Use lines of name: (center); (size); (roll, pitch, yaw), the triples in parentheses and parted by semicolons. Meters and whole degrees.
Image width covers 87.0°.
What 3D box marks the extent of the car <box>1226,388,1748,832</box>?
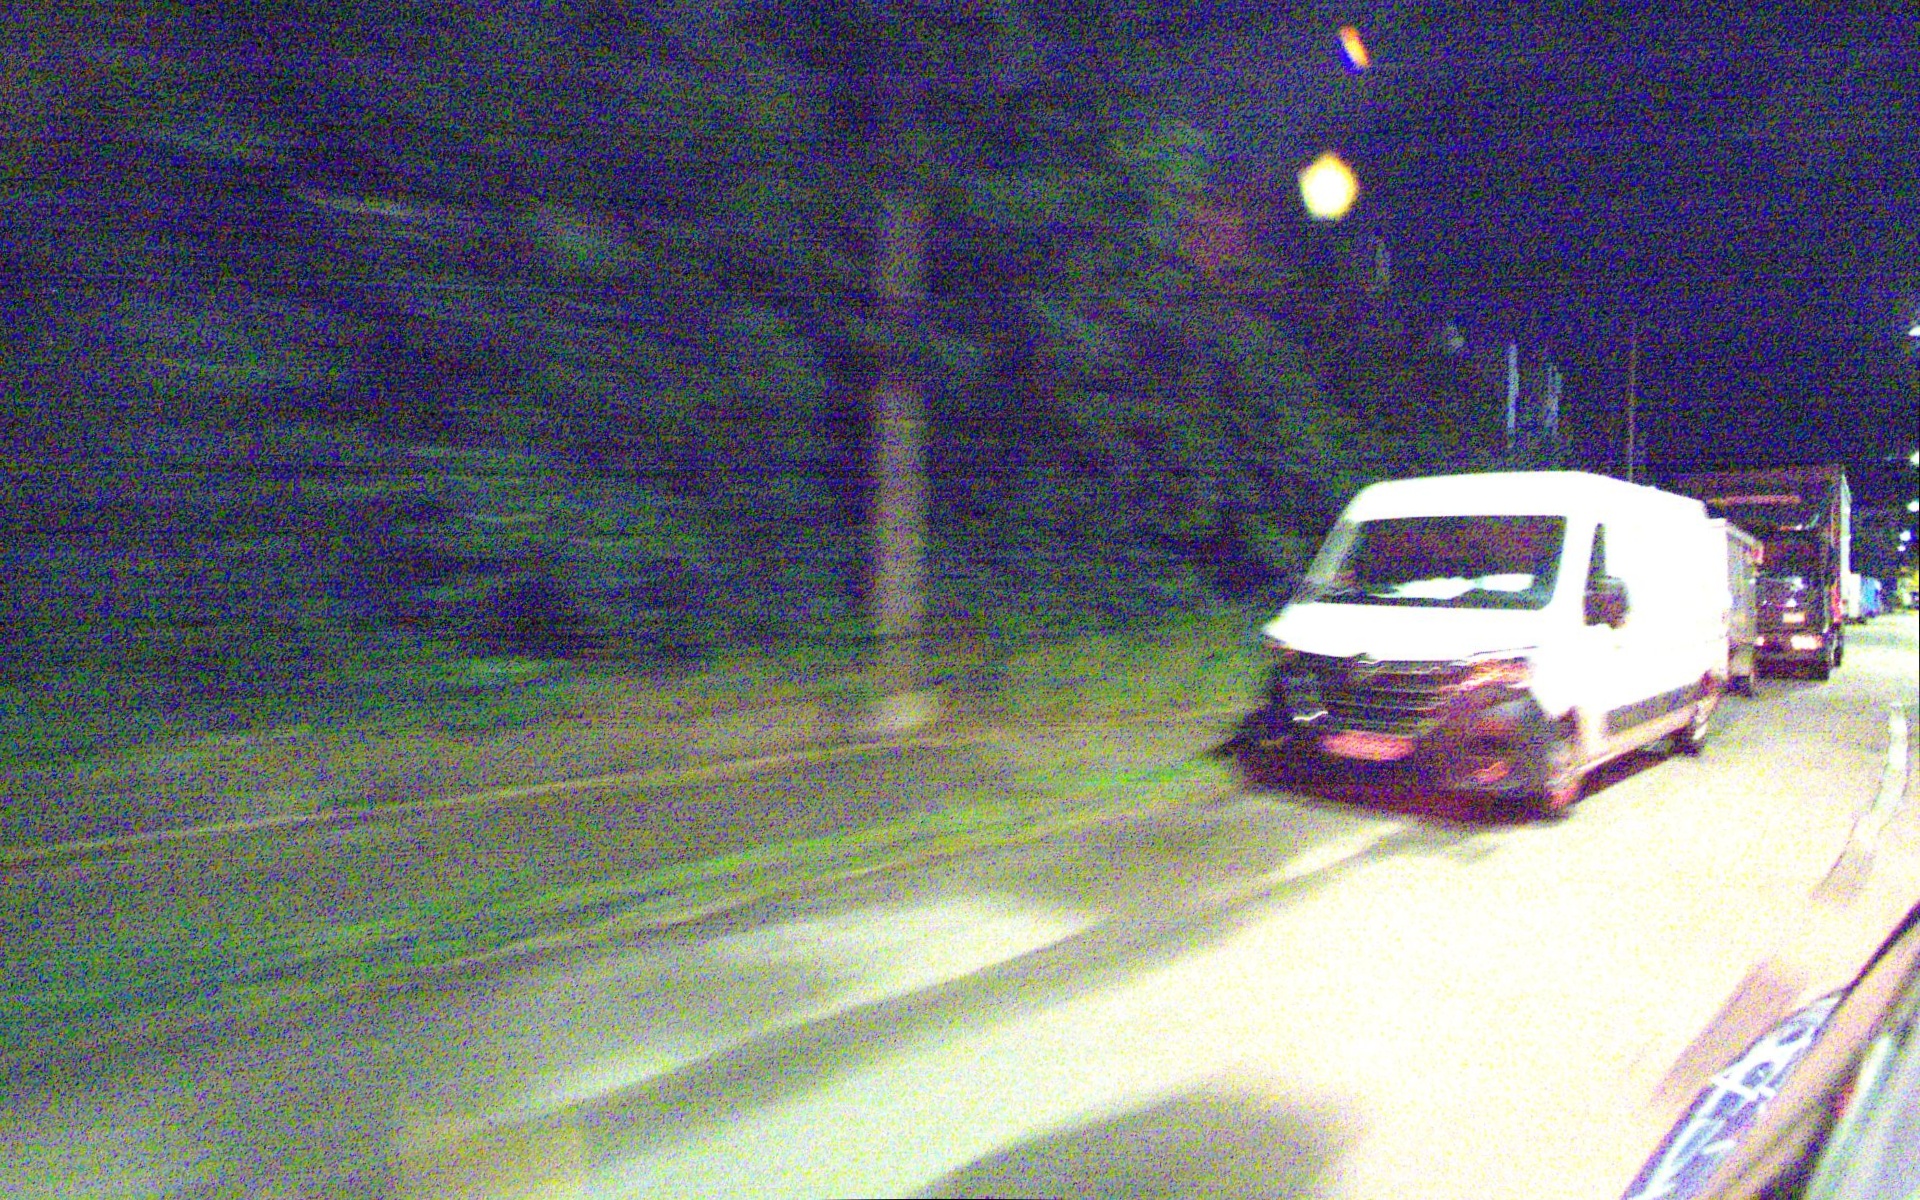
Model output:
car: (4.925, 0.040, 8.762); (6.266, 2.547, 2.110); (0, 1, -44)

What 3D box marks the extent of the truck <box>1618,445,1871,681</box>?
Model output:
truck: (16.819, -0.711, 21.356); (3.324, 3.916, 9.182); (2, 2, 43)

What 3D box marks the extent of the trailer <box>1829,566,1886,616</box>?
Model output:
trailer: (49.783, -0.495, 56.099); (3.933, 2.684, 1.996); (0, 1, -44)

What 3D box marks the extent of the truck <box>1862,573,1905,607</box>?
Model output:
truck: (108.404, -1.126, 118.722); (12.440, 3.885, 2.513); (0, 1, -42)

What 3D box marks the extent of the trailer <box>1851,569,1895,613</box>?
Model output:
trailer: (73.398, -0.715, 81.421); (2.396, 3.367, 4.298); (2, 1, 41)

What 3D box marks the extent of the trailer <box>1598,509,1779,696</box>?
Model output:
trailer: (11.595, 0.019, 15.952); (1.632, 2.504, 4.948); (2, 1, 43)
